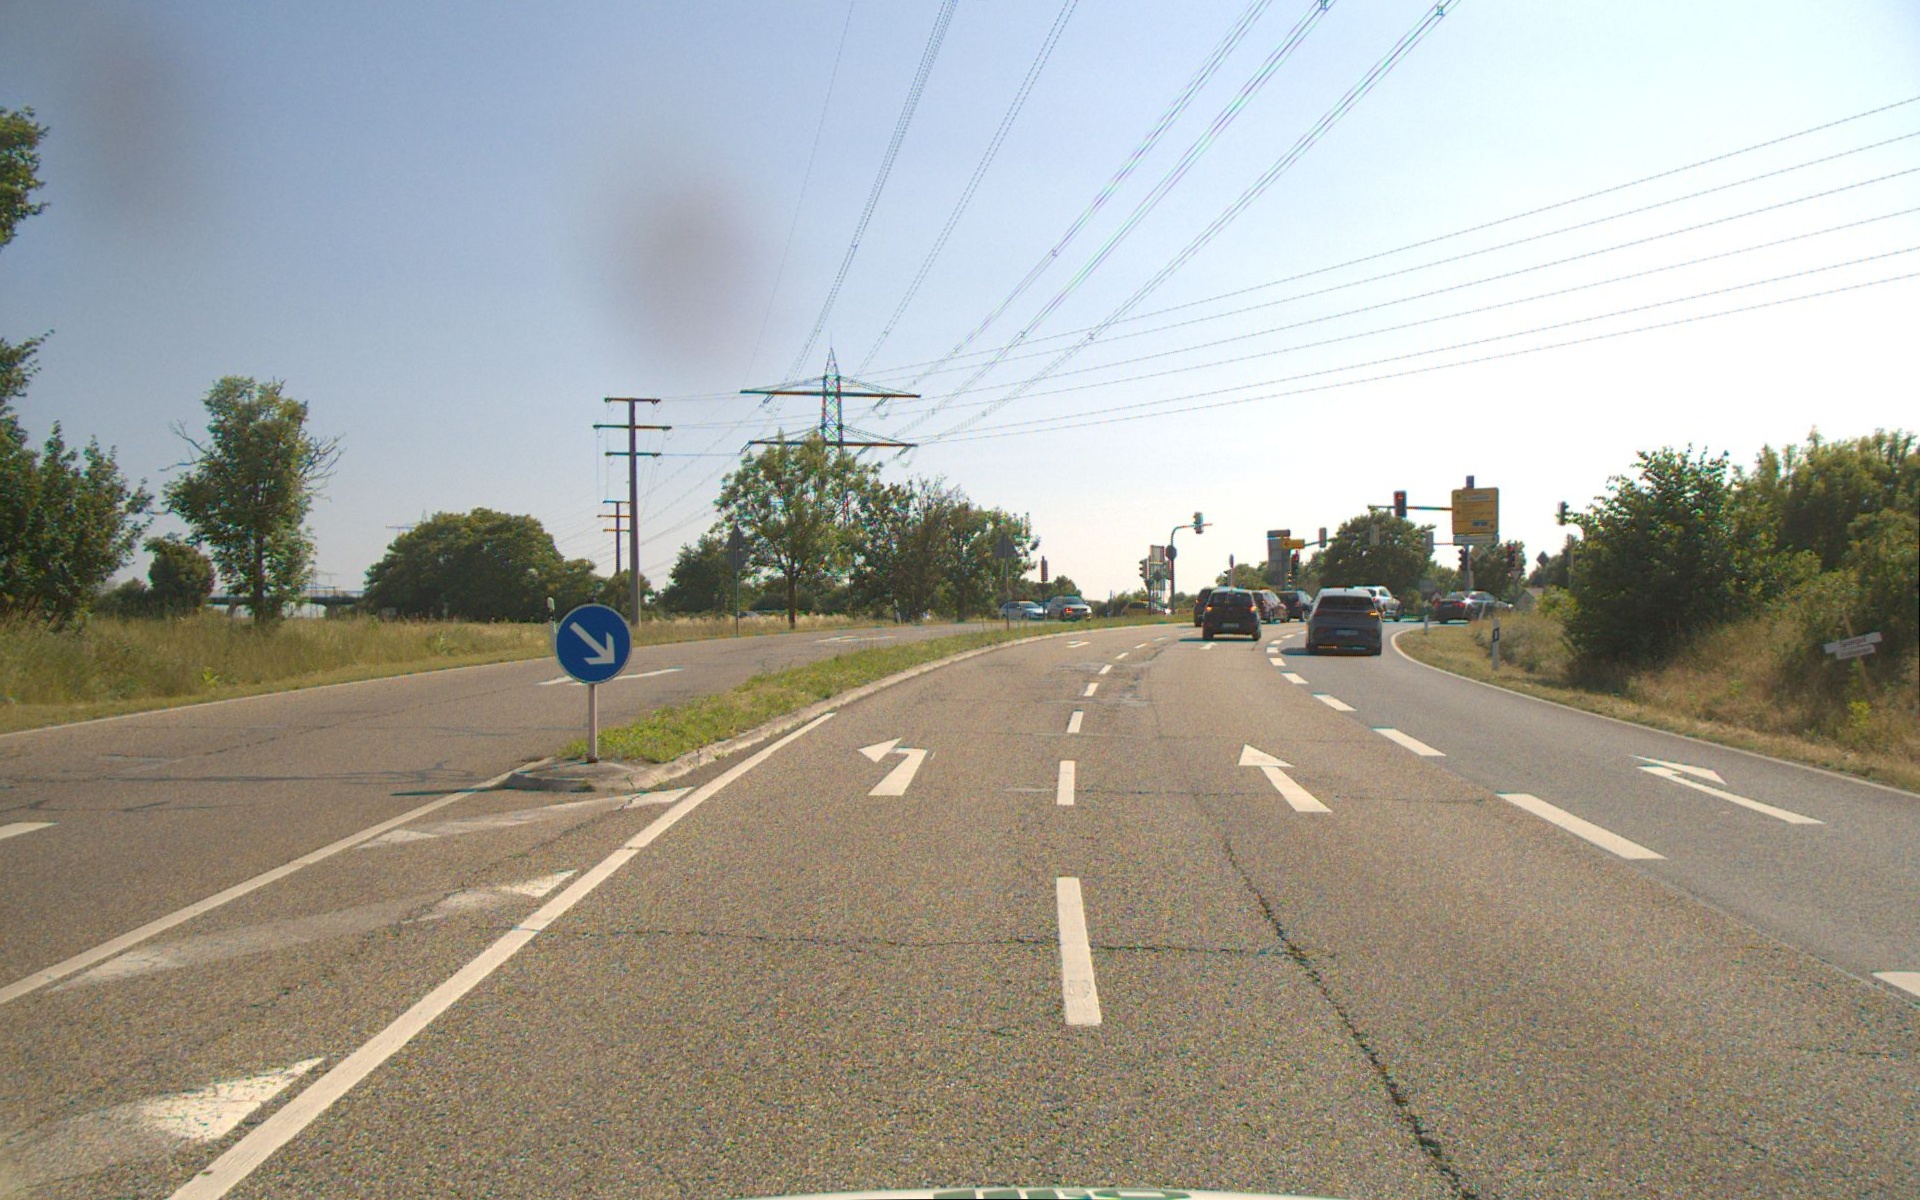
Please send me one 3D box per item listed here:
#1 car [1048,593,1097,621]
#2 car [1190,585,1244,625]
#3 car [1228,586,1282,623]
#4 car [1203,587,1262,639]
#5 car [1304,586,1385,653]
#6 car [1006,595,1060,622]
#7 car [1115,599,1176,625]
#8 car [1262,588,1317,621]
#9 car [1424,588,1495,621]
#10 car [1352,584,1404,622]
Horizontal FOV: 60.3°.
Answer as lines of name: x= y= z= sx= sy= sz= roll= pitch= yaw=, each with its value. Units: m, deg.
car: x=6.923 y=0.458 z=102.062 sx=1.784 sy=1.680 sz=3.983 roll=0 pitch=-1 yaw=-15
car: x=10.641 y=0.204 z=68.289 sx=1.705 sy=1.596 sz=3.626 roll=0 pitch=0 yaw=17
car: x=13.242 y=0.201 z=74.119 sx=1.706 sy=1.596 sz=3.624 roll=1 pitch=0 yaw=22
car: x=8.135 y=0.370 z=49.165 sx=1.598 sy=1.473 sz=3.298 roll=0 pitch=0 yaw=11
car: x=9.412 y=0.443 z=40.705 sx=1.735 sy=1.544 sz=4.103 roll=0 pitch=0 yaw=10
car: x=4.767 y=0.578 z=108.801 sx=1.794 sy=1.680 sz=3.961 roll=0 pitch=-1 yaw=-29
car: x=12.526 y=0.813 z=111.686 sx=1.804 sy=1.680 sz=3.941 roll=0 pitch=-1 yaw=-40
car: x=15.903 y=0.224 z=79.652 sx=1.708 sy=1.510 sz=3.620 roll=1 pitch=0 yaw=26
car: x=22.634 y=0.198 z=74.845 sx=1.616 sy=1.410 sz=3.978 roll=-1 pitch=0 yaw=40
car: x=19.824 y=0.145 z=78.340 sx=1.601 sy=1.706 sz=3.745 roll=0 pitch=0 yaw=27
